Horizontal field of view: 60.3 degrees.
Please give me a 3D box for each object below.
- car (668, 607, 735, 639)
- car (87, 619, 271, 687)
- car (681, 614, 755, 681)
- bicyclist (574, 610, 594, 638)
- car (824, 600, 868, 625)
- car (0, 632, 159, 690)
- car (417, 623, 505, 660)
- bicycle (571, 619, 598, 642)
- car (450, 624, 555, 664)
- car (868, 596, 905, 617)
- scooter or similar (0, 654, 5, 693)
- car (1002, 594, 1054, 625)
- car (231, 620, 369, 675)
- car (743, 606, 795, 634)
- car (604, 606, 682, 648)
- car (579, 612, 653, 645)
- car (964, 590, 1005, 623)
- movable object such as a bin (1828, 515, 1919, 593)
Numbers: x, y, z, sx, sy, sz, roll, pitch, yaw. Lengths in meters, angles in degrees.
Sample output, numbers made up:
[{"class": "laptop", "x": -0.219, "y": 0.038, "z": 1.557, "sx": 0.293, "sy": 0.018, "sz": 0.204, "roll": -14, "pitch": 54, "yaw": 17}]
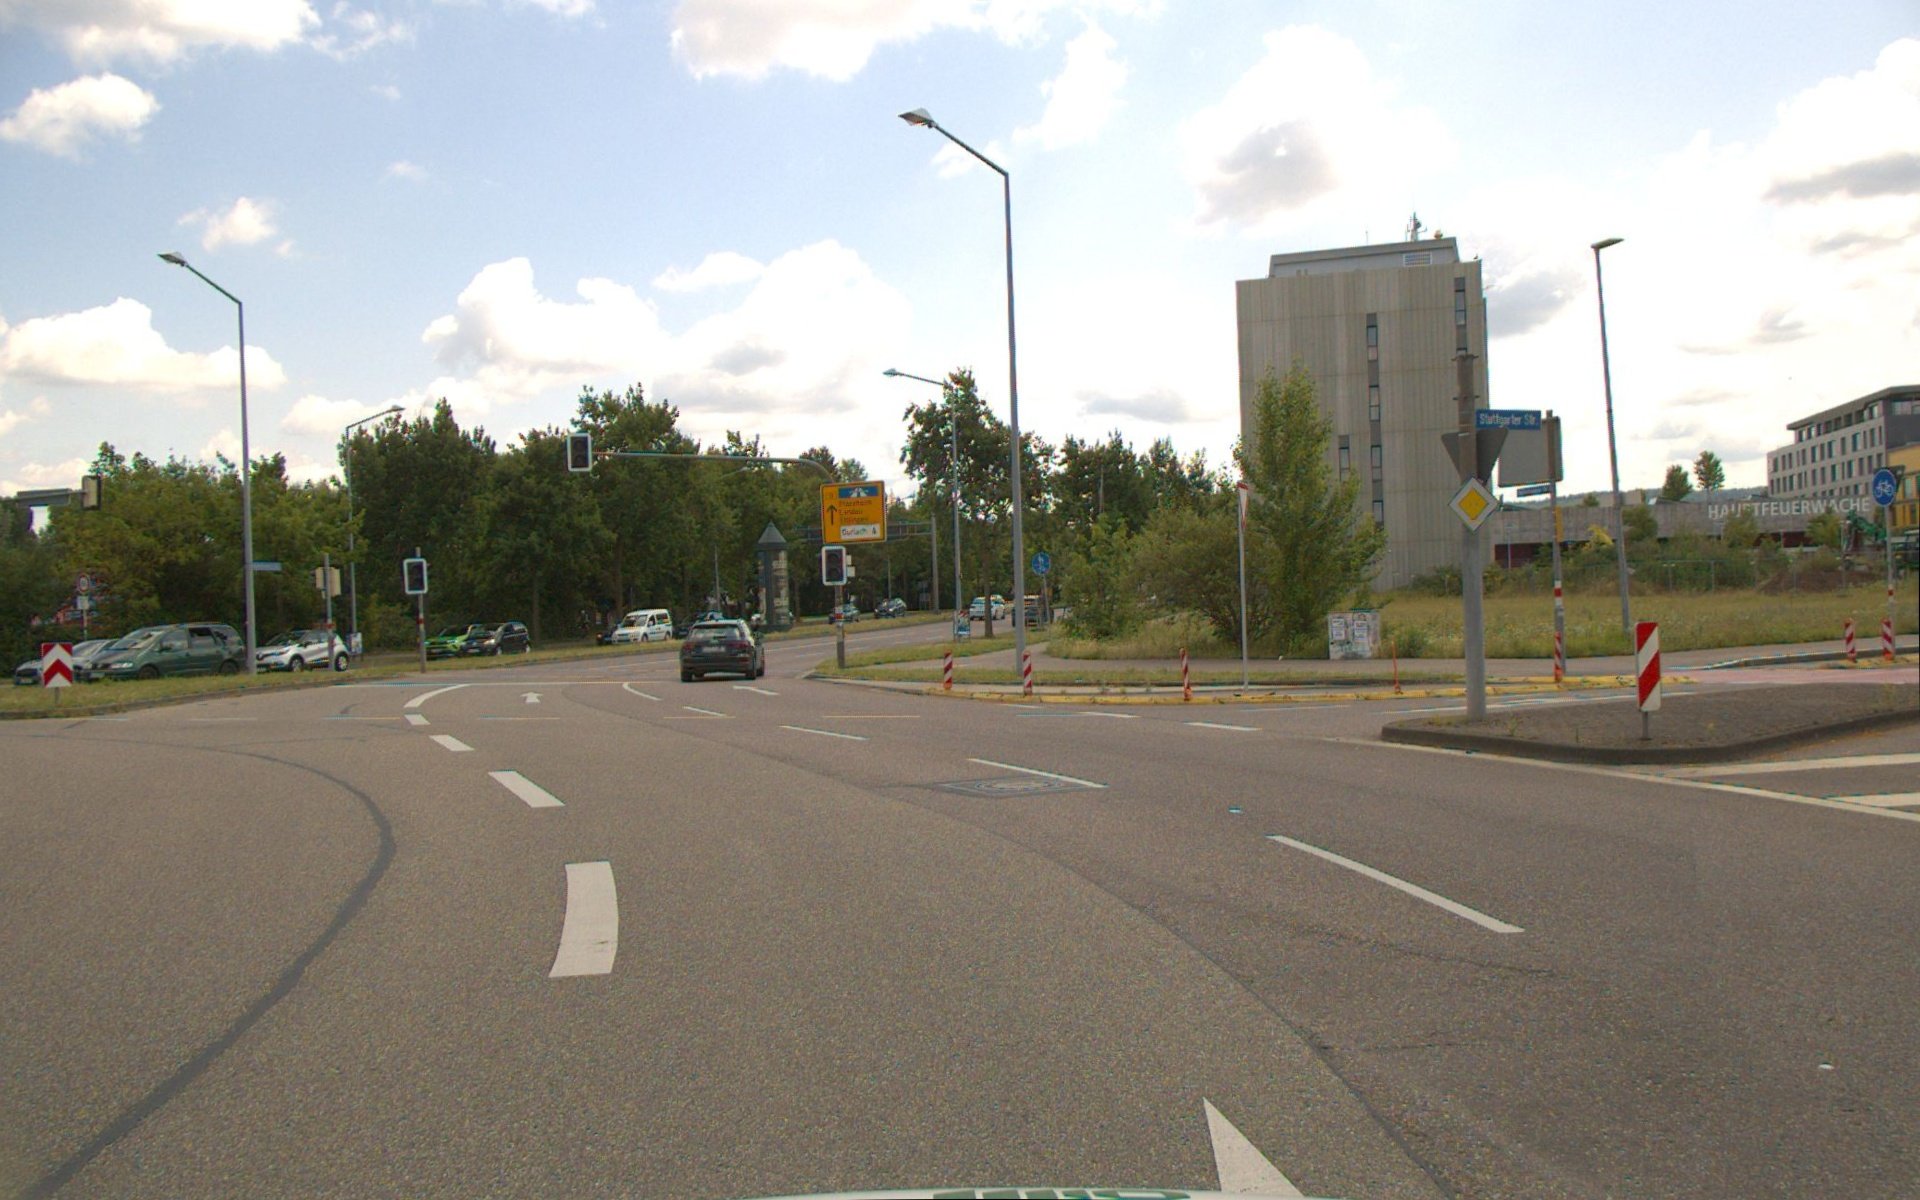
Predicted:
[{"class": "car", "x": -13.772, "y": 1.219, "z": 88.402, "sx": 1.799, "sy": 1.505, "sz": 4.757, "roll": -4, "pitch": -1, "yaw": 13}, {"class": "car", "x": -21.221, "y": 1.402, "z": 45.144, "sx": 1.868, "sy": 1.620, "sz": 4.594, "roll": -2, "pitch": 0, "yaw": 18}, {"class": "car", "x": -5.849, "y": 1.101, "z": 39.906, "sx": 1.653, "sy": 1.489, "sz": 3.992, "roll": -1, "pitch": 0, "yaw": -9}, {"class": "bicyclist", "x": -21.756, "y": 1.378, "z": 95.712, "sx": 0.812, "sy": 1.592, "sz": 0.884, "roll": 0, "pitch": 0, "yaw": 13}, {"class": "car", "x": -8.200, "y": 0.871, "z": 119.410, "sx": 1.685, "sy": 1.618, "sz": 5.017, "roll": -3, "pitch": 0, "yaw": 13}, {"class": "car", "x": -25.522, "y": 1.733, "z": 47.797, "sx": 1.865, "sy": 1.448, "sz": 4.193, "roll": -2, "pitch": 0, "yaw": 18}, {"class": "car", "x": -21.130, "y": 1.740, "z": 70.166, "sx": 1.581, "sy": 1.371, "sz": 4.174, "roll": -4, "pitch": -1, "yaw": 14}, {"class": "bicycle", "x": -21.743, "y": 1.752, "z": 95.781, "sx": 0.744, "sy": 1.240, "sz": 2.018, "roll": 0, "pitch": 0, "yaw": 13}, {"class": "car", "x": -18.565, "y": 1.755, "z": 67.325, "sx": 1.799, "sy": 1.333, "sz": 4.791, "roll": -4, "pitch": -1, "yaw": 16}, {"class": "car", "x": -5.988, "y": 0.519, "z": 135.090, "sx": 1.725, "sy": 1.604, "sz": 5.036, "roll": -3, "pitch": 0, "yaw": 13}, {"class": "scooter or similar", "x": -30.475, "y": 2.317, "z": 51.331, "sx": 0.529, "sy": 1.186, "sz": 1.441, "roll": -2, "pitch": 0, "yaw": 17}, {"class": "car", "x": 3.850, "y": 0.506, "z": 93.570, "sx": 1.951, "sy": 1.654, "sz": 4.312, "roll": -1, "pitch": 0, "yaw": 16}, {"class": "car", "x": -23.718, "y": 1.683, "z": 59.633, "sx": 1.952, "sy": 1.716, "sz": 4.789, "roll": -2, "pitch": 0, "yaw": 19}, {"class": "car", "x": -12.311, "y": 1.279, "z": 106.840, "sx": 1.869, "sy": 1.567, "sz": 4.372, "roll": -3, "pitch": 0, "yaw": 13}, {"class": "car", "x": -15.494, "y": 1.281, "z": 81.016, "sx": 1.799, "sy": 1.830, "sz": 4.792, "roll": -4, "pitch": -1, "yaw": 14}, {"class": "car", "x": -17.932, "y": 1.467, "z": 86.360, "sx": 1.799, "sy": 1.468, "sz": 4.422, "roll": -4, "pitch": -1, "yaw": 18}, {"class": "car", "x": 1.609, "y": 0.416, "z": 107.233, "sx": 1.951, "sy": 2.049, "sz": 4.004, "roll": -1, "pitch": 0, "yaw": 11}, {"class": "movable object such as a bin", "x": 49.587, "y": -2.349, "z": 87.788, "sx": 7.523, "sy": 3.920, "sz": 3.014, "roll": 0, "pitch": -1, "yaw": -34}]
